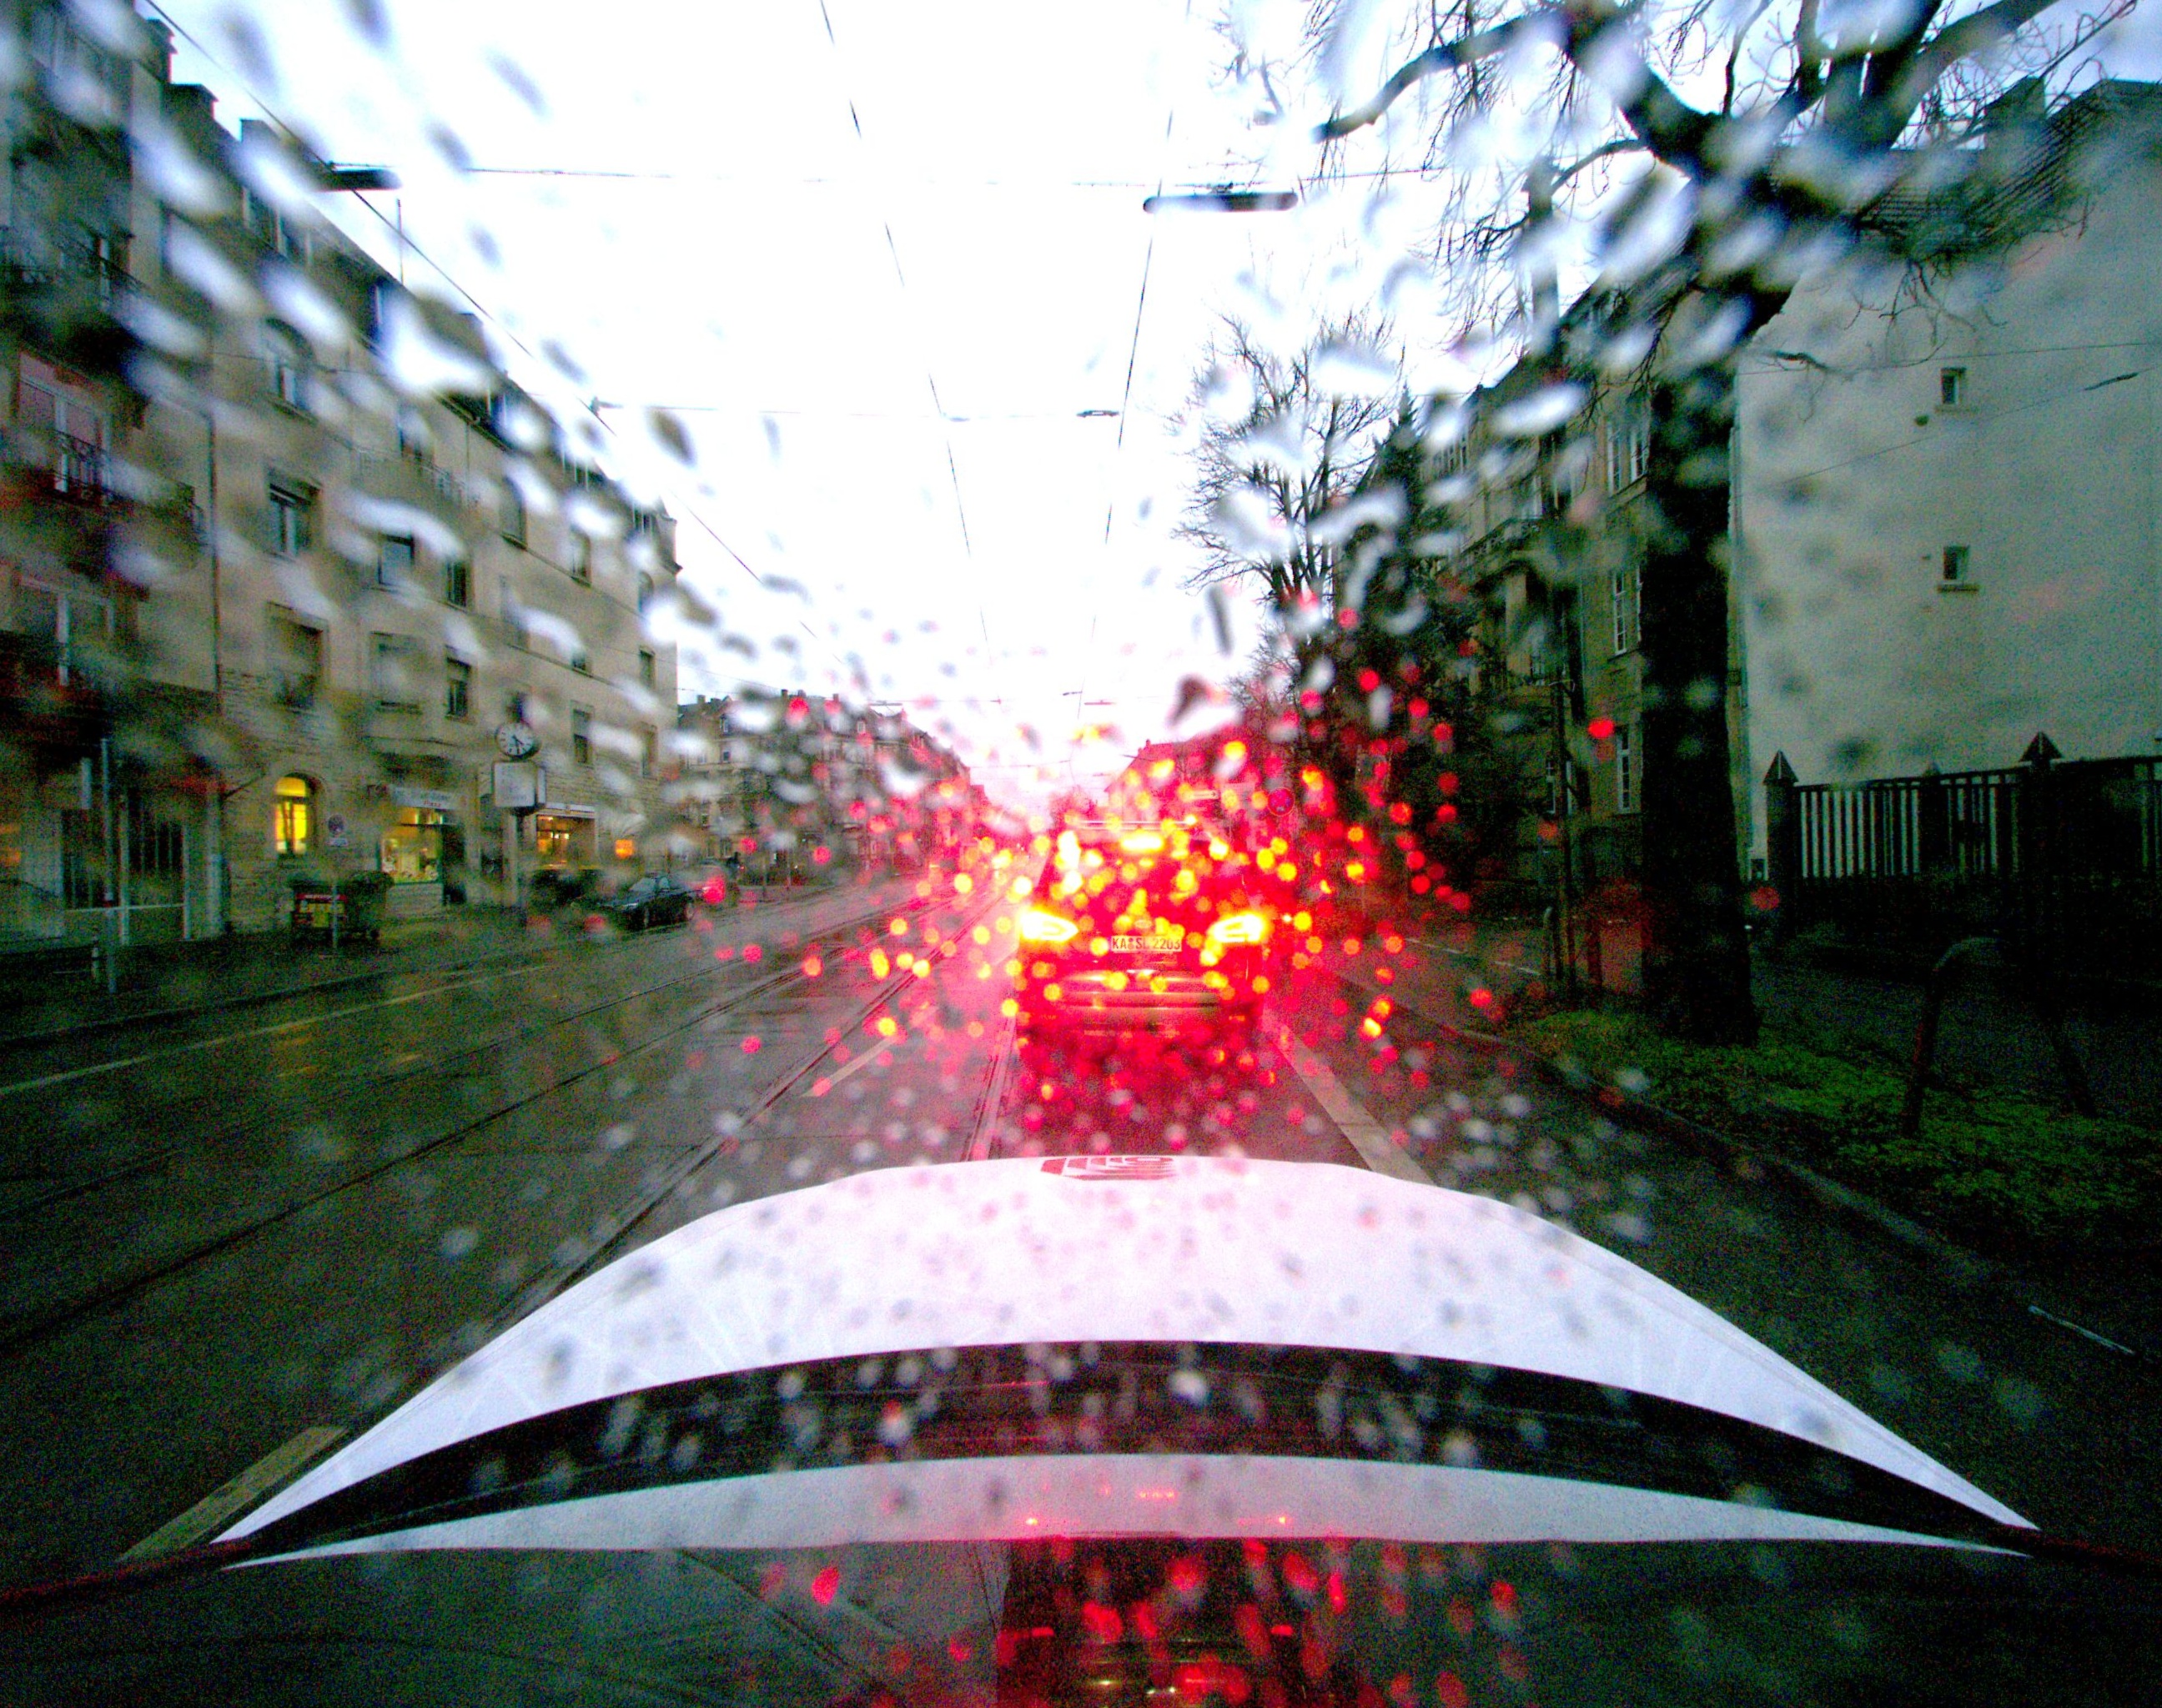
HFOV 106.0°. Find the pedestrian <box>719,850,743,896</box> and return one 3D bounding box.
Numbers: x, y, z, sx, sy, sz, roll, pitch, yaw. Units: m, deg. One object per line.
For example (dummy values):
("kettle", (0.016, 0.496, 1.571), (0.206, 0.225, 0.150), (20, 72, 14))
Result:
("pedestrian", (-15.514, 0.819, 36.085), (0.748, 2.014, 0.652), (-1, -1, 34))

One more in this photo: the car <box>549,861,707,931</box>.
("car", (-12.438, 1.089, 22.766), (1.982, 1.645, 4.623), (3, -1, -4))

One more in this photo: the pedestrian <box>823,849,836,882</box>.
("pedestrian", (-15.656, 0.706, 50.678), (0.707, 2.013, 0.656), (-1, 0, -21))

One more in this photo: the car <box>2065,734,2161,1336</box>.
("car", (4.431, 0.539, 0.309), (2.025, 1.875, 4.960), (-2, 0, -2))

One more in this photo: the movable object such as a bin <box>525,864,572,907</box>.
("movable object such as a bin", (-17.812, 1.045, 27.276), (0.896, 1.377, 1.006), (-1, 0, -2))

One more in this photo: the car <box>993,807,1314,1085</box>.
("car", (0.495, 0.597, 7.677), (2.096, 1.816, 4.660), (0, 0, 0))

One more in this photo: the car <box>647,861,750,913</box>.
("car", (-13.324, 1.115, 28.624), (2.035, 1.551, 4.022), (2, 0, -7))

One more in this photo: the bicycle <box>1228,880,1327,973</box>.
("bicycle", (2.723, 0.979, 11.530), (0.716, 1.112, 1.937), (3, 0, -6))

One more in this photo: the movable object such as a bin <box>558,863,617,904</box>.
("movable object such as a bin", (-17.279, 1.032, 28.577), (1.290, 1.367, 1.251), (-1, 0, -2))

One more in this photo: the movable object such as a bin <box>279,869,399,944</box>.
("movable object such as a bin", (-15.074, 1.039, 16.598), (1.264, 1.420, 1.249), (-1, 0, -2))

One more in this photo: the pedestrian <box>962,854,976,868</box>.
("pedestrian", (-9.401, 0.600, 68.603), (1.044, 1.200, 0.884), (-1, -1, -1))

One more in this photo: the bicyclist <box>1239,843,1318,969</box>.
("bicyclist", (2.750, 0.695, 11.429), (0.716, 1.662, 1.054), (2, 0, -6))
